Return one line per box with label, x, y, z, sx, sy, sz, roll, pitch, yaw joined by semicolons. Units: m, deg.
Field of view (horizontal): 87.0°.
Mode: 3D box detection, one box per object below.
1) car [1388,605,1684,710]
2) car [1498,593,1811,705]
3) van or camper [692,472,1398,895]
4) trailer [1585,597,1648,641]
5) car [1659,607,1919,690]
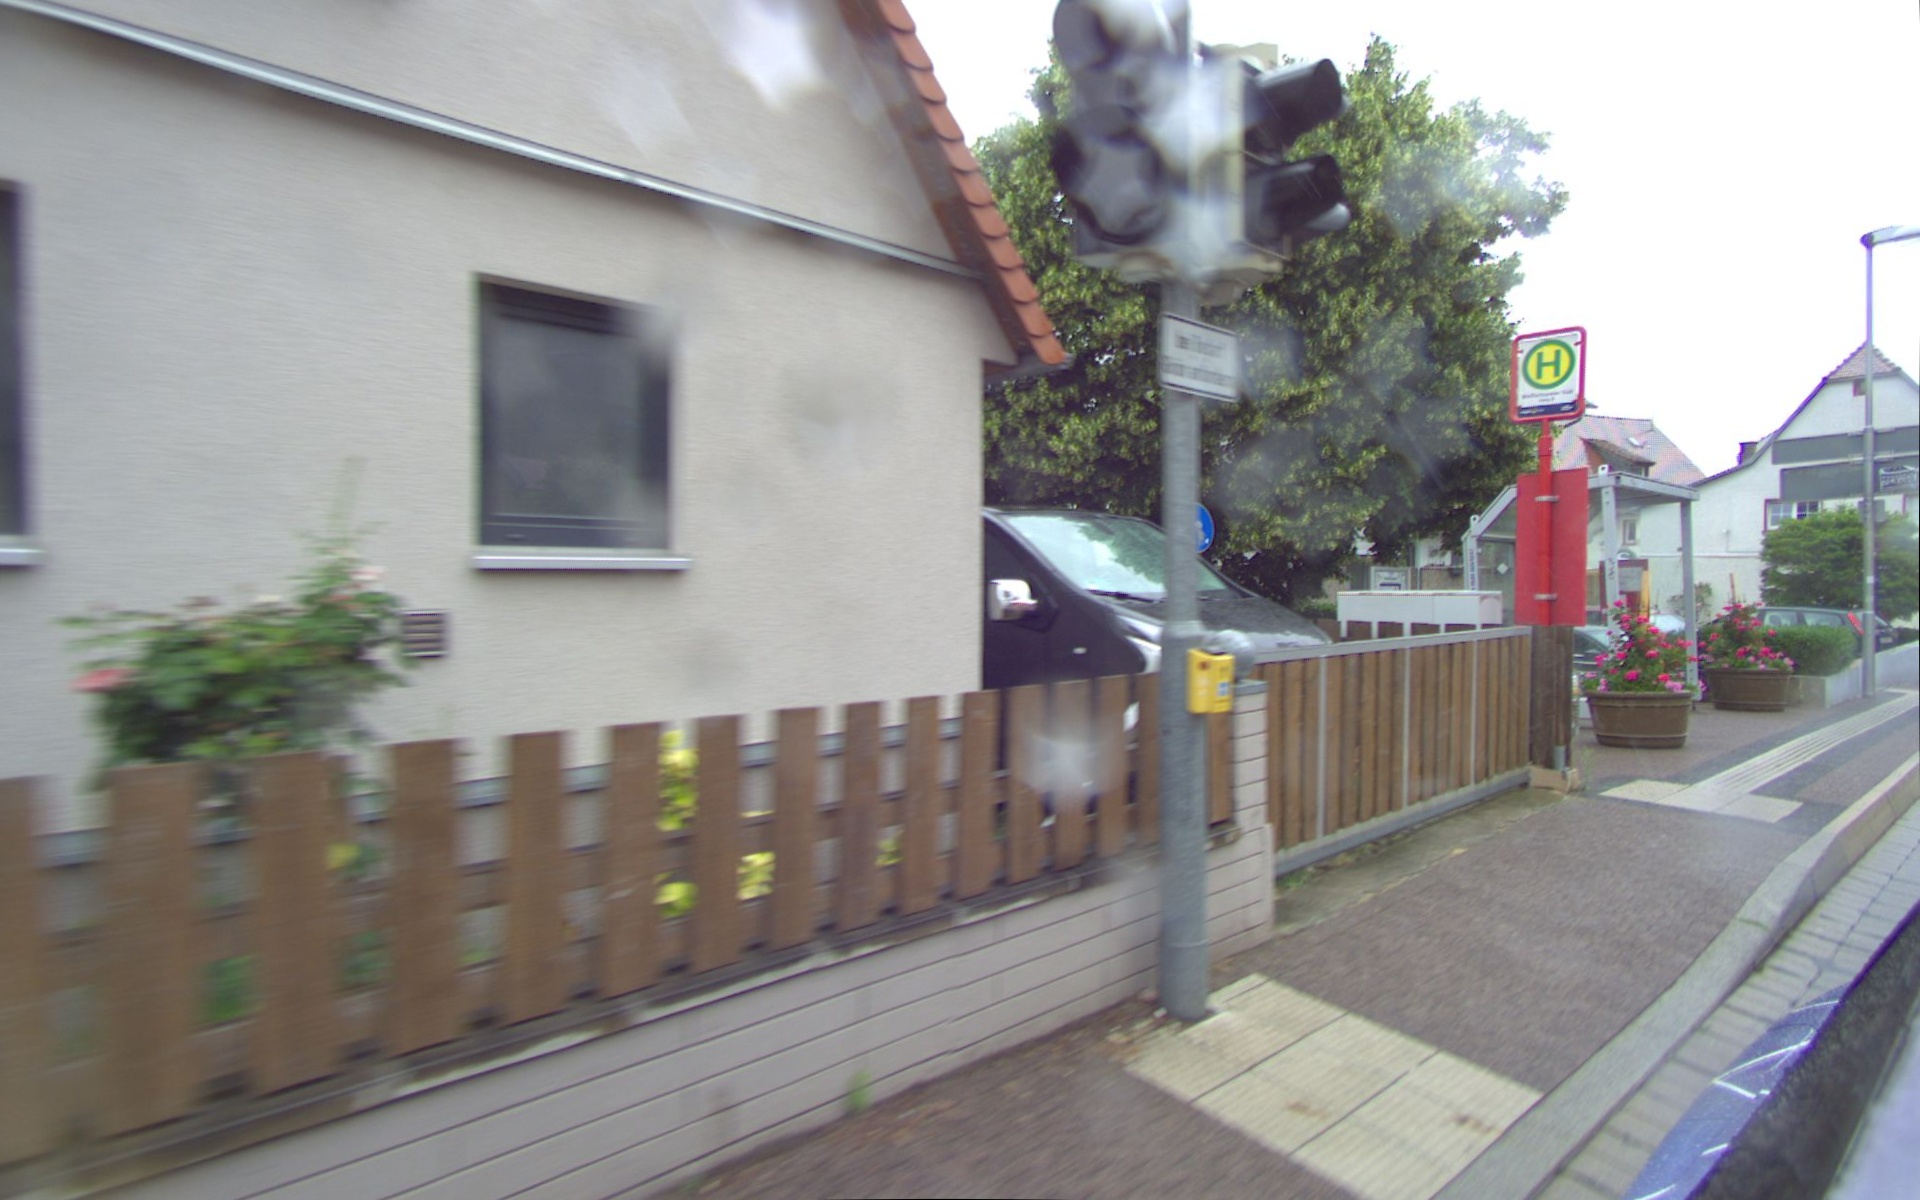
car;9.534;0.870;17.053;1.717;1.395;3.968;1;1;-32
car;11.812;0.735;17.542;1.819;1.609;4.089;1;1;-26
van or camper;0.179;0.386;7.168;1.844;1.947;5.073;1;-1;-43
trailer;27.094;0.771;41.769;2.565;1.764;1.571;1;0;-42
car;18.199;0.993;22.371;1.660;1.499;4.250;1;1;-25
